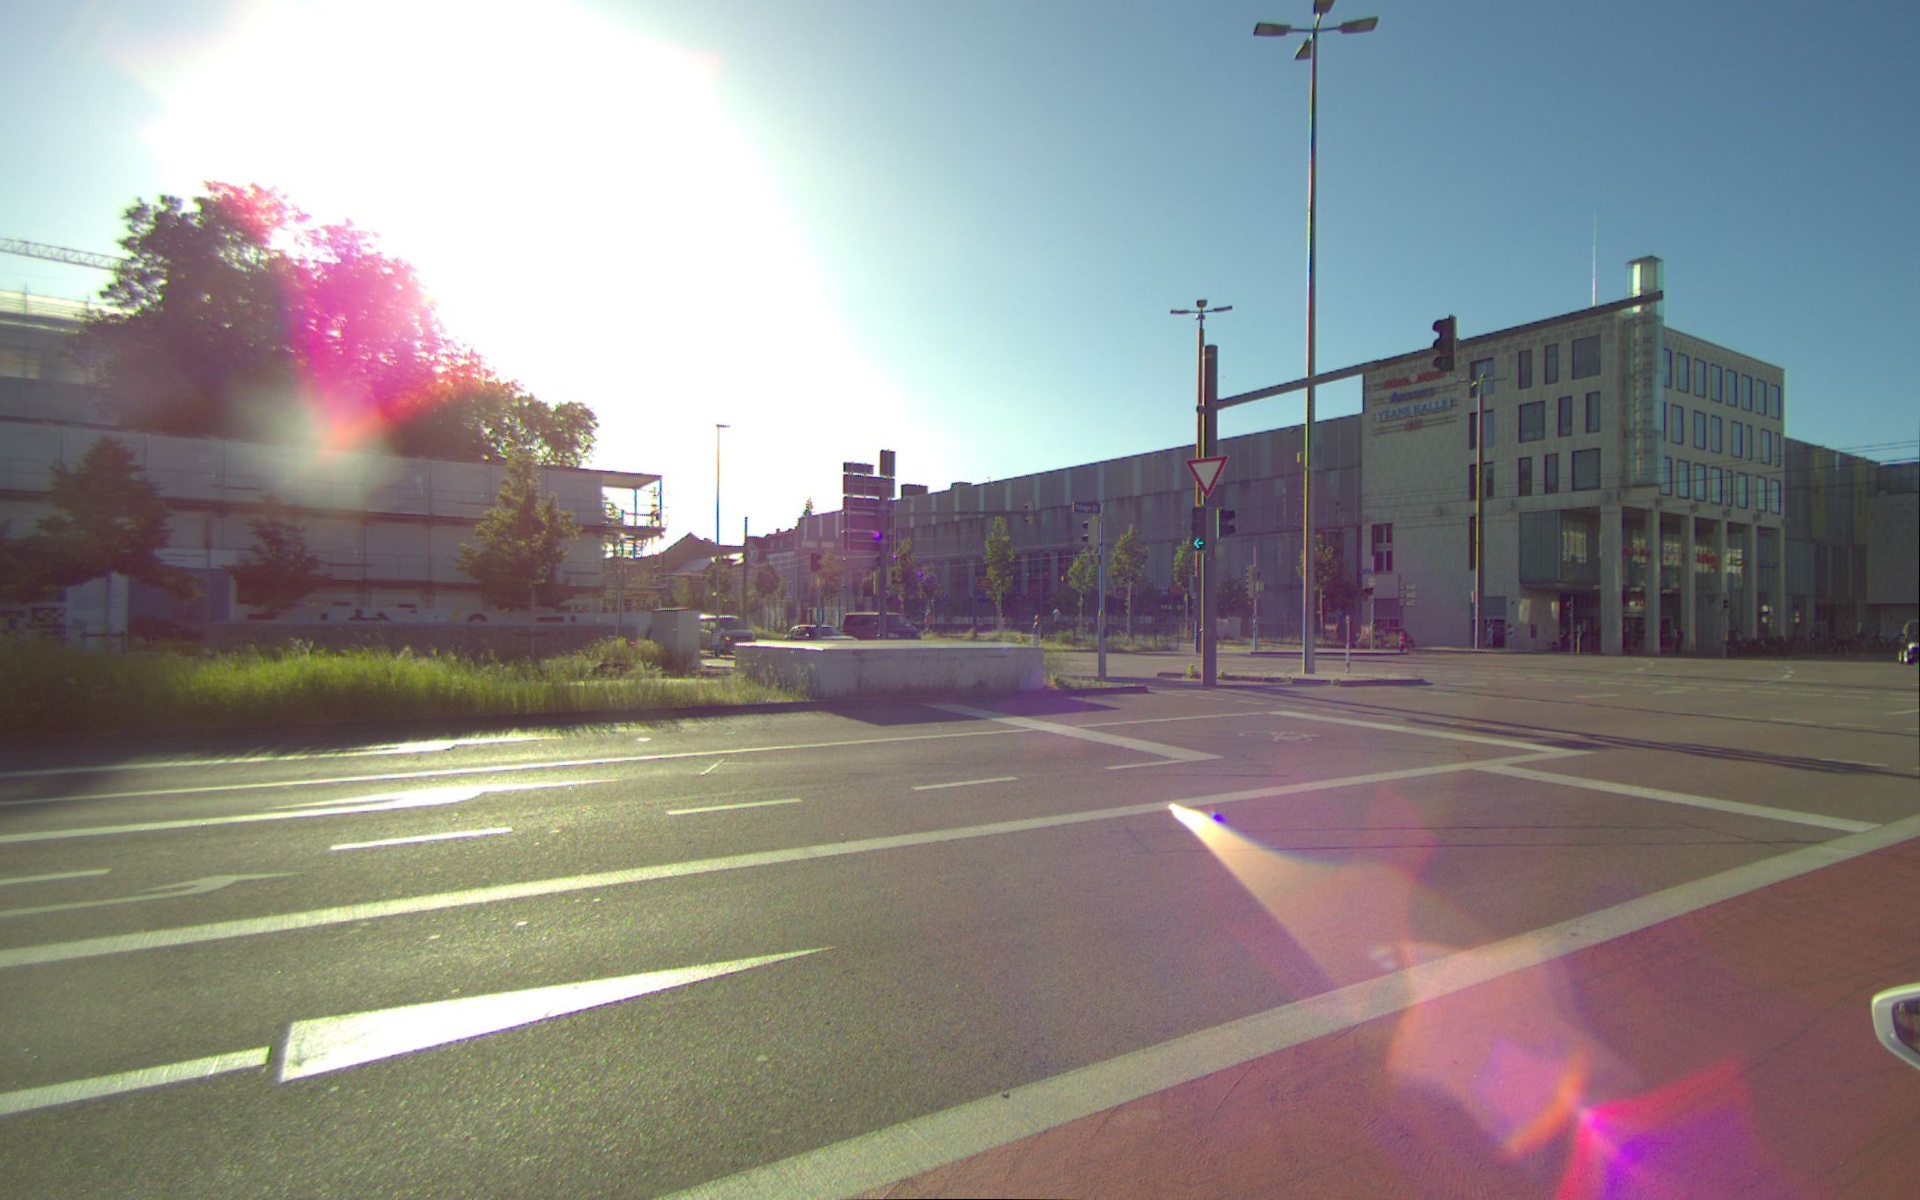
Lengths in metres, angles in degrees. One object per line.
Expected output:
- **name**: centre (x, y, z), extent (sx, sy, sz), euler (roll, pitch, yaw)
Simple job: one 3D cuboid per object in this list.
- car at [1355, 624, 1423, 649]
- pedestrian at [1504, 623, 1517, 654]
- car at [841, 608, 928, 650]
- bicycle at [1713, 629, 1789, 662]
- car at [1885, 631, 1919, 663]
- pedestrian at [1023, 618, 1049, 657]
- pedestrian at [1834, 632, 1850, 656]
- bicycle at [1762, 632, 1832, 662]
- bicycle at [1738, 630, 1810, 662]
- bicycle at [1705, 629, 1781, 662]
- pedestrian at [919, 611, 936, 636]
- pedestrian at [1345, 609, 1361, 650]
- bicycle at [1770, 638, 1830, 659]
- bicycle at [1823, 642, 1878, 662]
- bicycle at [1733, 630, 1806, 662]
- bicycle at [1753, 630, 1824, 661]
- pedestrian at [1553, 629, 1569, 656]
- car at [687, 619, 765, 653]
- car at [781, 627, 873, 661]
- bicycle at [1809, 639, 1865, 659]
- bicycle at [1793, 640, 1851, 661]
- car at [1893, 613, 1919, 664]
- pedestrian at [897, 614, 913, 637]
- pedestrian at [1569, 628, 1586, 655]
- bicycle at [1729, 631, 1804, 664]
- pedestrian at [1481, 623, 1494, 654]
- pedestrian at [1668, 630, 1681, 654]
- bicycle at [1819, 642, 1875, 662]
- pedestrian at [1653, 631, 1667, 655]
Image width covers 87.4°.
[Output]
- **car**: centre (27.745, 2.341, 65.053), extent (1.762, 1.584, 3.755), euler (1, -1, -33)
- **pedestrian**: centre (36.463, 2.529, 66.536), extent (0.512, 2.040, 0.618), euler (1, -1, -39)
- **car**: centre (-3.663, 1.399, 47.846), extent (1.856, 1.834, 4.604), euler (3, -4, -38)
- **bicycle**: centre (50.189, 2.862, 63.781), extent (1.076, 2.040, 3.598), euler (1, -2, -34)
- **car**: centre (46.851, 2.259, 48.624), extent (4.595, 1.374, 1.982), euler (-1, 0, -33)
- **pedestrian**: centre (3.016, 1.470, 39.885), extent (0.796, 1.522, 0.716), euler (1, -1, -40)
- **pedestrian**: centre (59.686, 2.990, 67.986), extent (0.731, 1.629, 0.623), euler (0, -1, 32)
- **bicycle**: centre (57.779, 3.202, 69.370), extent (0.893, 2.040, 3.598), euler (1, -2, -34)
- **bicycle**: centre (54.495, 3.063, 67.289), extent (1.076, 2.040, 3.598), euler (1, -2, -34)
- **bicycle**: centre (49.088, 2.815, 63.044), extent (1.077, 2.040, 3.593), euler (1, -2, -38)
- **pedestrian**: centre (-2.062, 1.474, 63.278), extent (0.718, 1.522, 0.794), euler (1, -1, -39)
- **pedestrian**: centre (19.782, 1.503, 50.577), extent (0.620, 2.040, 0.509), euler (1, -1, -44)
- **bicycle**: centre (58.521, 3.357, 70.012), extent (0.893, 1.419, 3.031), euler (1, -2, -34)
- **bicycle**: centre (67.868, 3.964, 76.577), extent (0.893, 1.419, 3.031), euler (1, -2, -34)
- **bicycle**: centre (53.594, 3.026, 66.583), extent (1.076, 2.040, 3.598), euler (1, -2, -34)
- **bicycle**: centre (56.302, 3.070, 68.291), extent (0.893, 2.040, 3.598), euler (1, -2, -34)
- **pedestrian**: centre (37.302, 2.643, 62.339), extent (0.646, 1.629, 0.619), euler (1, -1, -32)
- **car**: centre (-11.988, 1.855, 51.259), extent (2.119, 1.631, 4.604), euler (4, -4, -38)
- **car**: centre (-5.846, 1.907, 43.741), extent (1.856, 1.392, 4.604), euler (4, -4, -38)
- **bicycle**: centre (64.848, 3.588, 74.314), extent (0.893, 1.419, 3.031), euler (1, -2, -34)
- **bicycle**: centre (62.162, 3.618, 72.445), extent (0.893, 1.419, 3.031), euler (1, -2, -34)
- **car**: centre (36.173, 1.383, 37.358), extent (1.971, 1.765, 4.621), euler (-1, -1, 41)
- **pedestrian**: centre (-3.724, 1.731, 68.171), extent (0.718, 1.522, 0.794), euler (1, -1, -39)
- **pedestrian**: centre (37.772, 2.528, 61.446), extent (0.646, 1.629, 0.619), euler (1, -1, -32)
- **bicycle**: centre (51.560, 2.999, 64.292), extent (1.076, 2.040, 3.598), euler (1, -2, -34)
- **pedestrian**: centre (34.765, 2.530, 66.198), extent (0.512, 2.040, 0.618), euler (1, -1, -39)
- **pedestrian**: centre (48.545, 2.843, 68.243), extent (0.613, 1.629, 0.653), euler (0, -1, 23)
- **bicycle**: centre (67.015, 3.907, 75.889), extent (0.893, 1.419, 3.031), euler (1, -2, -34)
- **pedestrian**: centre (47.657, 2.905, 68.390), extent (0.613, 1.629, 0.653), euler (0, -1, 23)
